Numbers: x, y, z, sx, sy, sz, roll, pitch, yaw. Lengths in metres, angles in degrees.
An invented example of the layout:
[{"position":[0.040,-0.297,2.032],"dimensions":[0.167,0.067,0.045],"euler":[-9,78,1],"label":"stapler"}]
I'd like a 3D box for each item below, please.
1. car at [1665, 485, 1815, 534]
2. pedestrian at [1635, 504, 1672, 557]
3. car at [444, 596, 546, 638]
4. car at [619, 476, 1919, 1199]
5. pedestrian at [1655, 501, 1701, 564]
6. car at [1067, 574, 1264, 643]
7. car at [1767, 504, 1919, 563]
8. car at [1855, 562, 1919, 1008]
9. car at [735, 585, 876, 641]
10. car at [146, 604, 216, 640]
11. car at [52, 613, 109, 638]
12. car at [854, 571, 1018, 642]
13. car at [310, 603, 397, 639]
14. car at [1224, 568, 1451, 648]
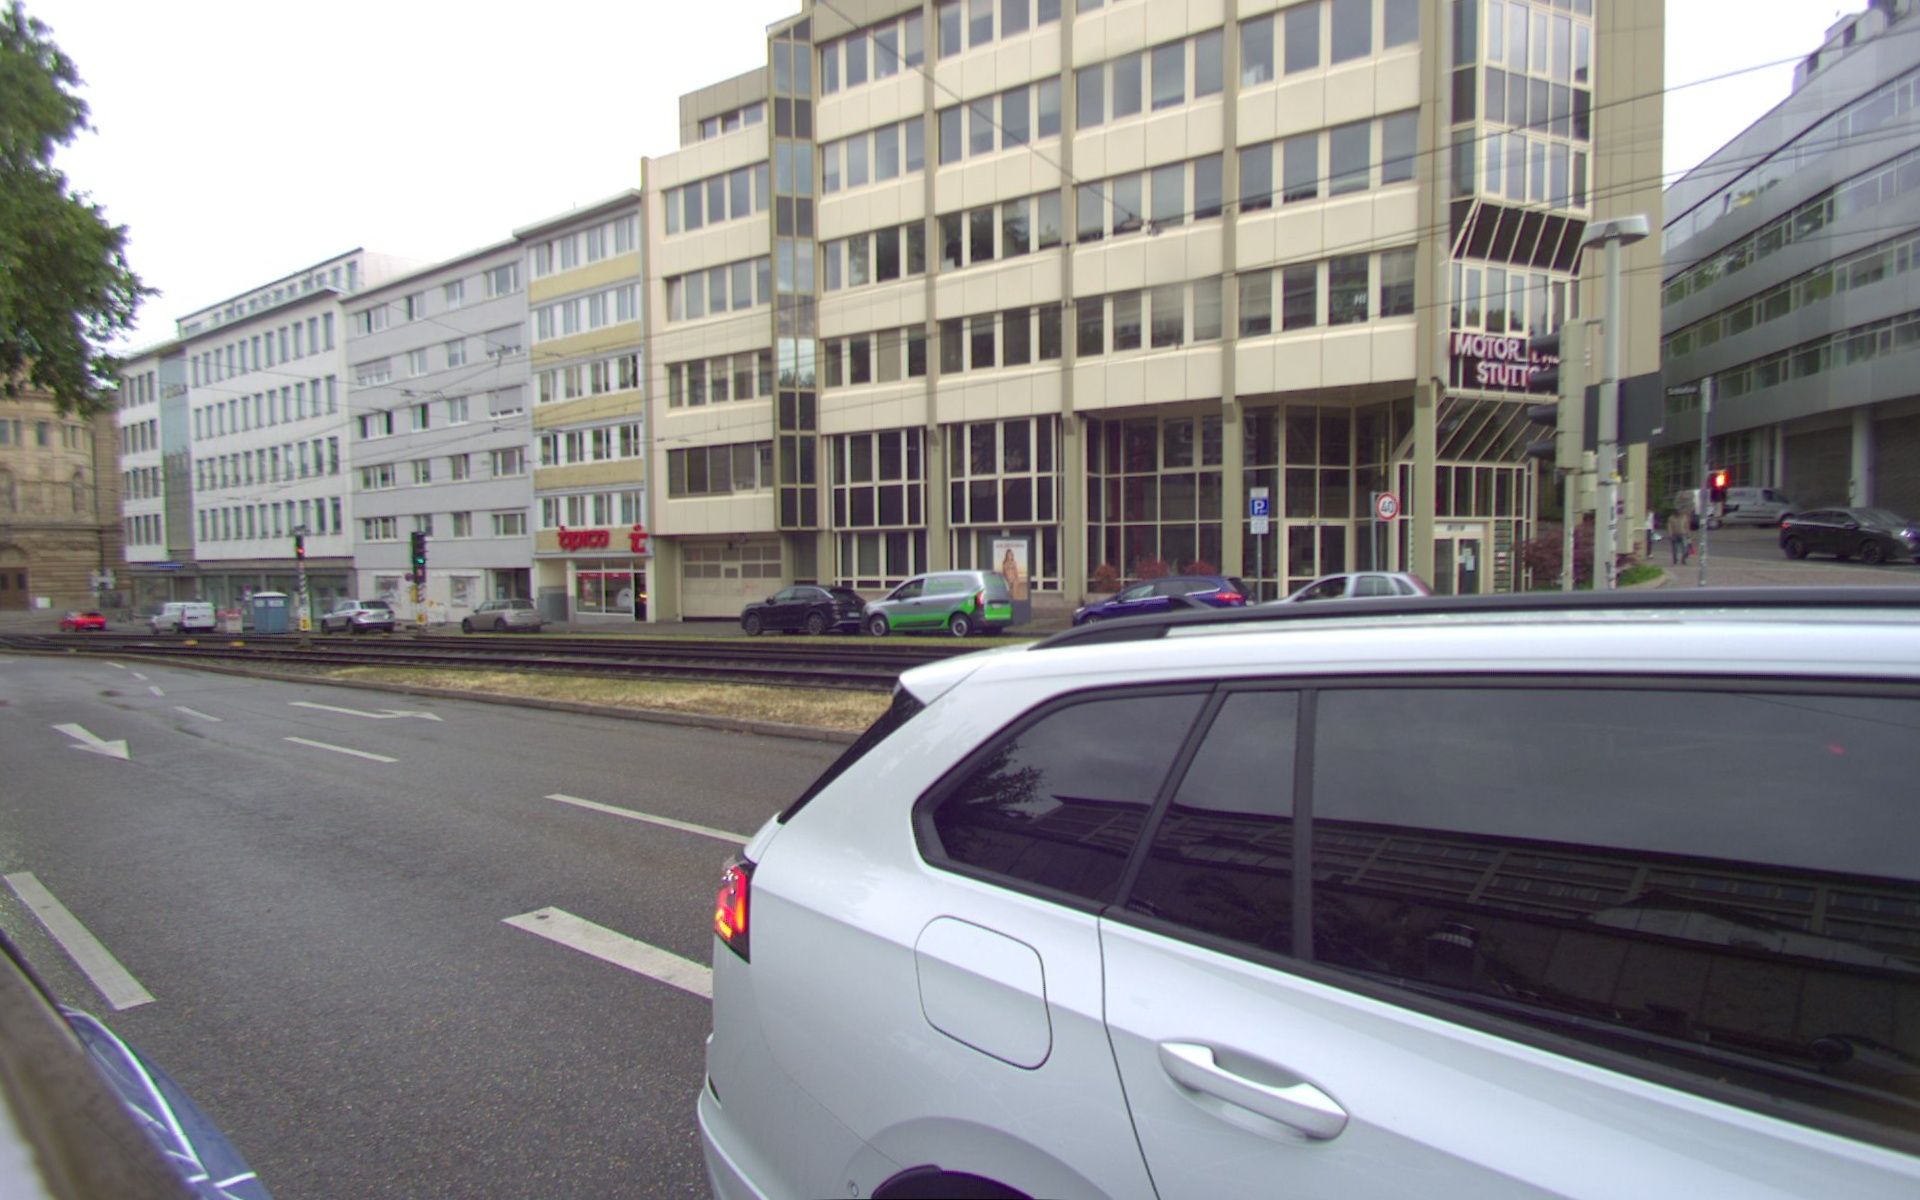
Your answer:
[{"position":[37.616,-4.348,48.945],"dimensions":[5.357,2.029,1.993],"euler":[-1,0,12],"label":"car"},{"position":[22.227,-2.220,32.442],"dimensions":[0.711,1.651,0.759],"euler":[-2,3,6],"label":"pedestrian"},{"position":[-18.725,0.664,40.715],"dimensions":[4.066,1.524,1.782],"euler":[-1,3,34],"label":"car"},{"position":[1.600,0.622,1.169],"dimensions":[4.473,1.453,1.777],"euler":[-1,0,41],"label":"car"},{"position":[21.178,-1.975,29.865],"dimensions":[0.821,1.800,0.759],"euler":[-2,3,6],"label":"pedestrian"},{"position":[4.806,0.192,23.858],"dimensions":[4.207,1.488,1.780],"euler":[-1,0,35],"label":"car"},{"position":[27.513,-2.075,30.908],"dimensions":[1.974,1.591,4.884],"euler":[-2,5,3],"label":"car"},{"position":[5.289,0.574,2.566],"dimensions":[4.473,1.453,1.777],"euler":[-1,0,41],"label":"car"},{"position":[-4.727,0.378,30.762],"dimensions":[4.066,1.524,1.782],"euler":[-1,3,34],"label":"car"},{"position":[-46.560,1.287,60.461],"dimensions":[4.465,1.949,1.869],"euler":[-1,3,34],"label":"car"},{"position":[-62.218,1.777,71.566],"dimensions":[4.465,1.636,1.869],"euler":[-1,3,34],"label":"car"},{"position":[-0.686,0.169,27.872],"dimensions":[4.204,1.759,1.782],"euler":[-1,2,33],"label":"car"},{"position":[-28.321,0.947,47.217],"dimensions":[4.066,1.524,1.869],"euler":[-1,3,34],"label":"car"},{"position":[7.193,0.154,19.342],"dimensions":[3.855,1.367,1.617],"euler":[-1,2,30],"label":"car"}]
